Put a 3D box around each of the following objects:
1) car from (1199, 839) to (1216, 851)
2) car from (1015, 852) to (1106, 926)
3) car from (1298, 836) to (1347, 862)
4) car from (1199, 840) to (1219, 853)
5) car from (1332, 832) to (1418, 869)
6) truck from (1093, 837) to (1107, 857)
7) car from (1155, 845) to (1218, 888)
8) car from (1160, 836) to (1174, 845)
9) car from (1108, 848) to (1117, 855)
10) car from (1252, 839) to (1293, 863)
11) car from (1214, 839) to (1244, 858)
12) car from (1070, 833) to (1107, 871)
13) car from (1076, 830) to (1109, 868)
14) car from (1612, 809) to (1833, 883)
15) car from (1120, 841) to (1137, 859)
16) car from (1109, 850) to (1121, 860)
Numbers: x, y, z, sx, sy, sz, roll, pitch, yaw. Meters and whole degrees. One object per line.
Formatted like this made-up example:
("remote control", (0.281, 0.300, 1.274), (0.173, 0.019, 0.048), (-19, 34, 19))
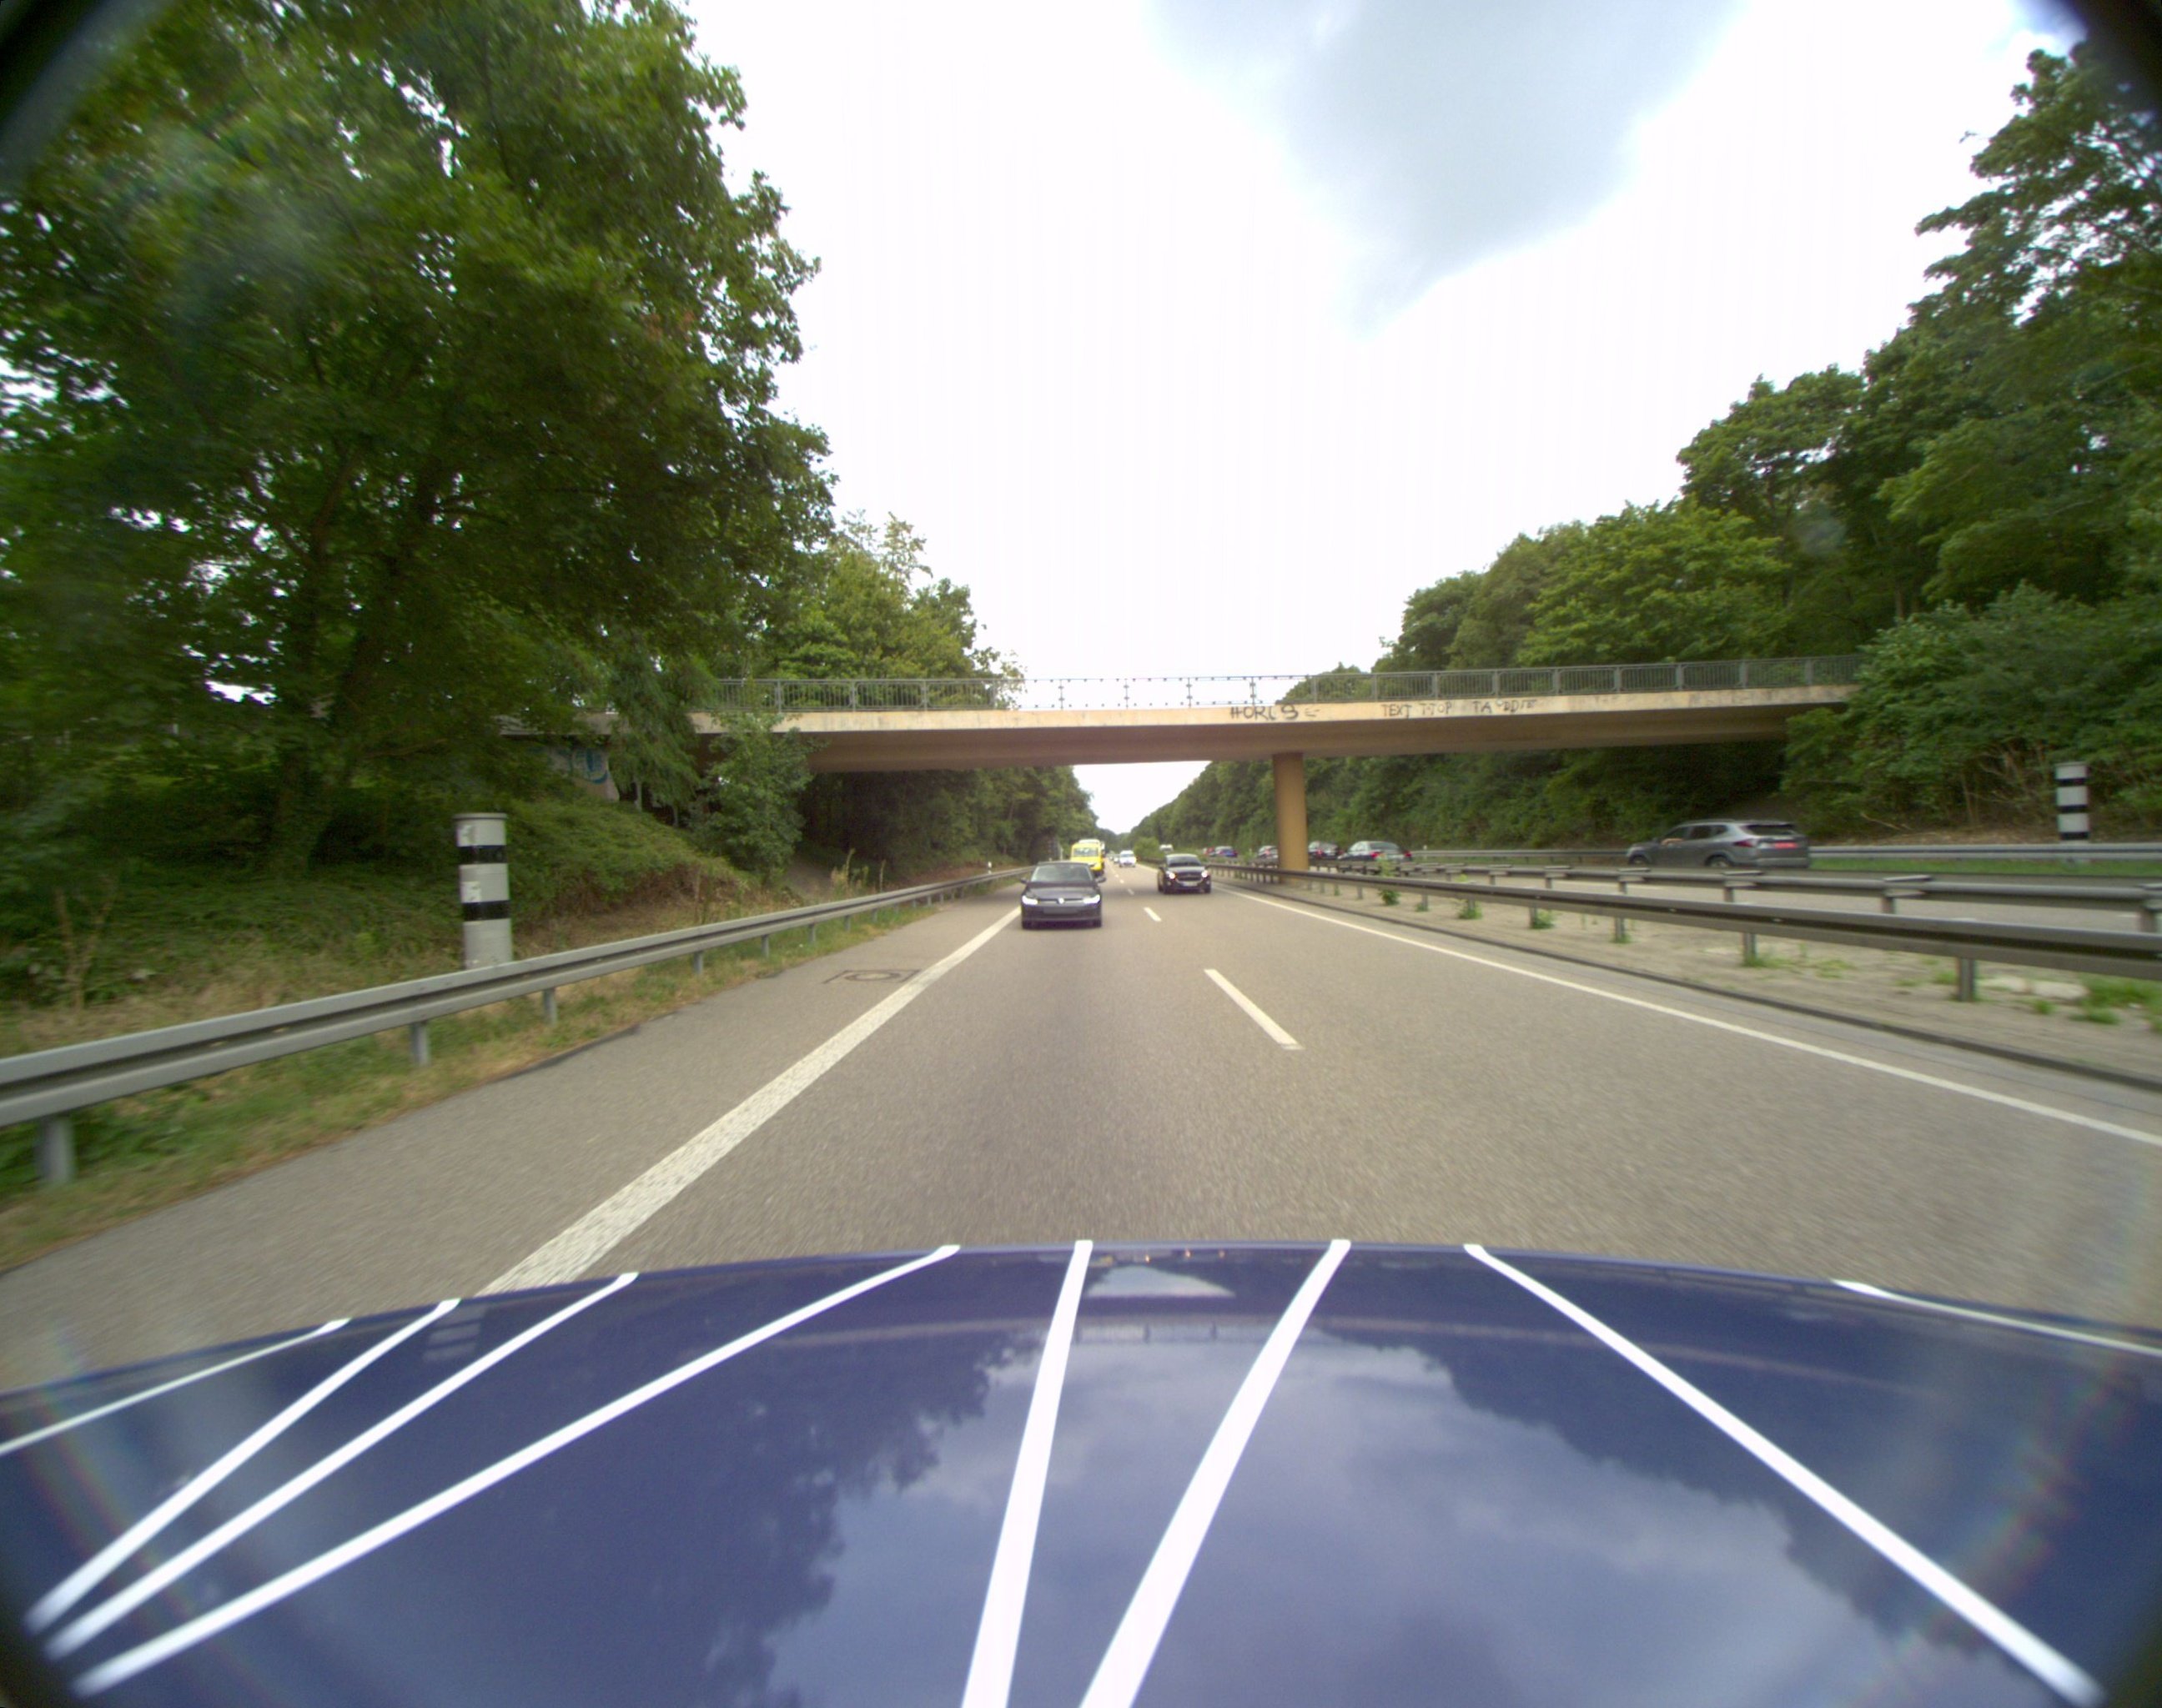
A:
("car", (19.426, -1.410, 116.999), (1.898, 1.642, 4.639), (-2, 1, 1))
("car", (-0.414, 0.701, 17.708), (1.801, 1.398, 4.638), (-2, 1, 0))
("car", (16.441, -0.370, 51.923), (1.898, 1.677, 4.639), (-2, 1, 1))
("car", (17.182, -1.049, 102.310), (1.898, 1.642, 4.639), (-2, 1, 1))
("car", (12.042, -0.176, 31.464), (1.693, 1.373, 4.935), (-2, 1, 1))
("truck", (3.530, -1.299, 142.632), (2.548, 3.565, 6.455), (-2, 1, 1))
("car", (3.976, 0.414, 29.263), (1.831, 1.449, 4.639), (-2, 1, 1))
("car", (15.544, -2.410, 137.628), (2.193, 1.642, 4.639), (-2, 1, 1))
("car", (7.128, -0.555, 170.815), (1.998, 1.422, 4.000), (-1, 1, 2))
("car", (12.411, -0.251, 49.426), (1.693, 1.455, 3.989), (-2, 1, 1))
("car", (13.729, -0.502, 70.713), (1.898, 1.642, 4.639), (-2, 1, 1))
("car", (0.472, -0.171, 51.217), (2.248, 2.334, 5.222), (-2, 1, -1))
("car", (0.847, -0.424, 58.474), (2.208, 2.732, 6.165), (-2, 1, -1))
("car", (16.340, -0.220, 19.758), (1.898, 1.642, 4.639), (-2, 1, 1))
("car", (5.442, -0.496, 88.234), (1.821, 1.993, 4.423), (-1, 1, 2))
("car", (5.382, 0.159, 121.125), (1.772, 1.416, 4.197), (-2, 1, 1))
